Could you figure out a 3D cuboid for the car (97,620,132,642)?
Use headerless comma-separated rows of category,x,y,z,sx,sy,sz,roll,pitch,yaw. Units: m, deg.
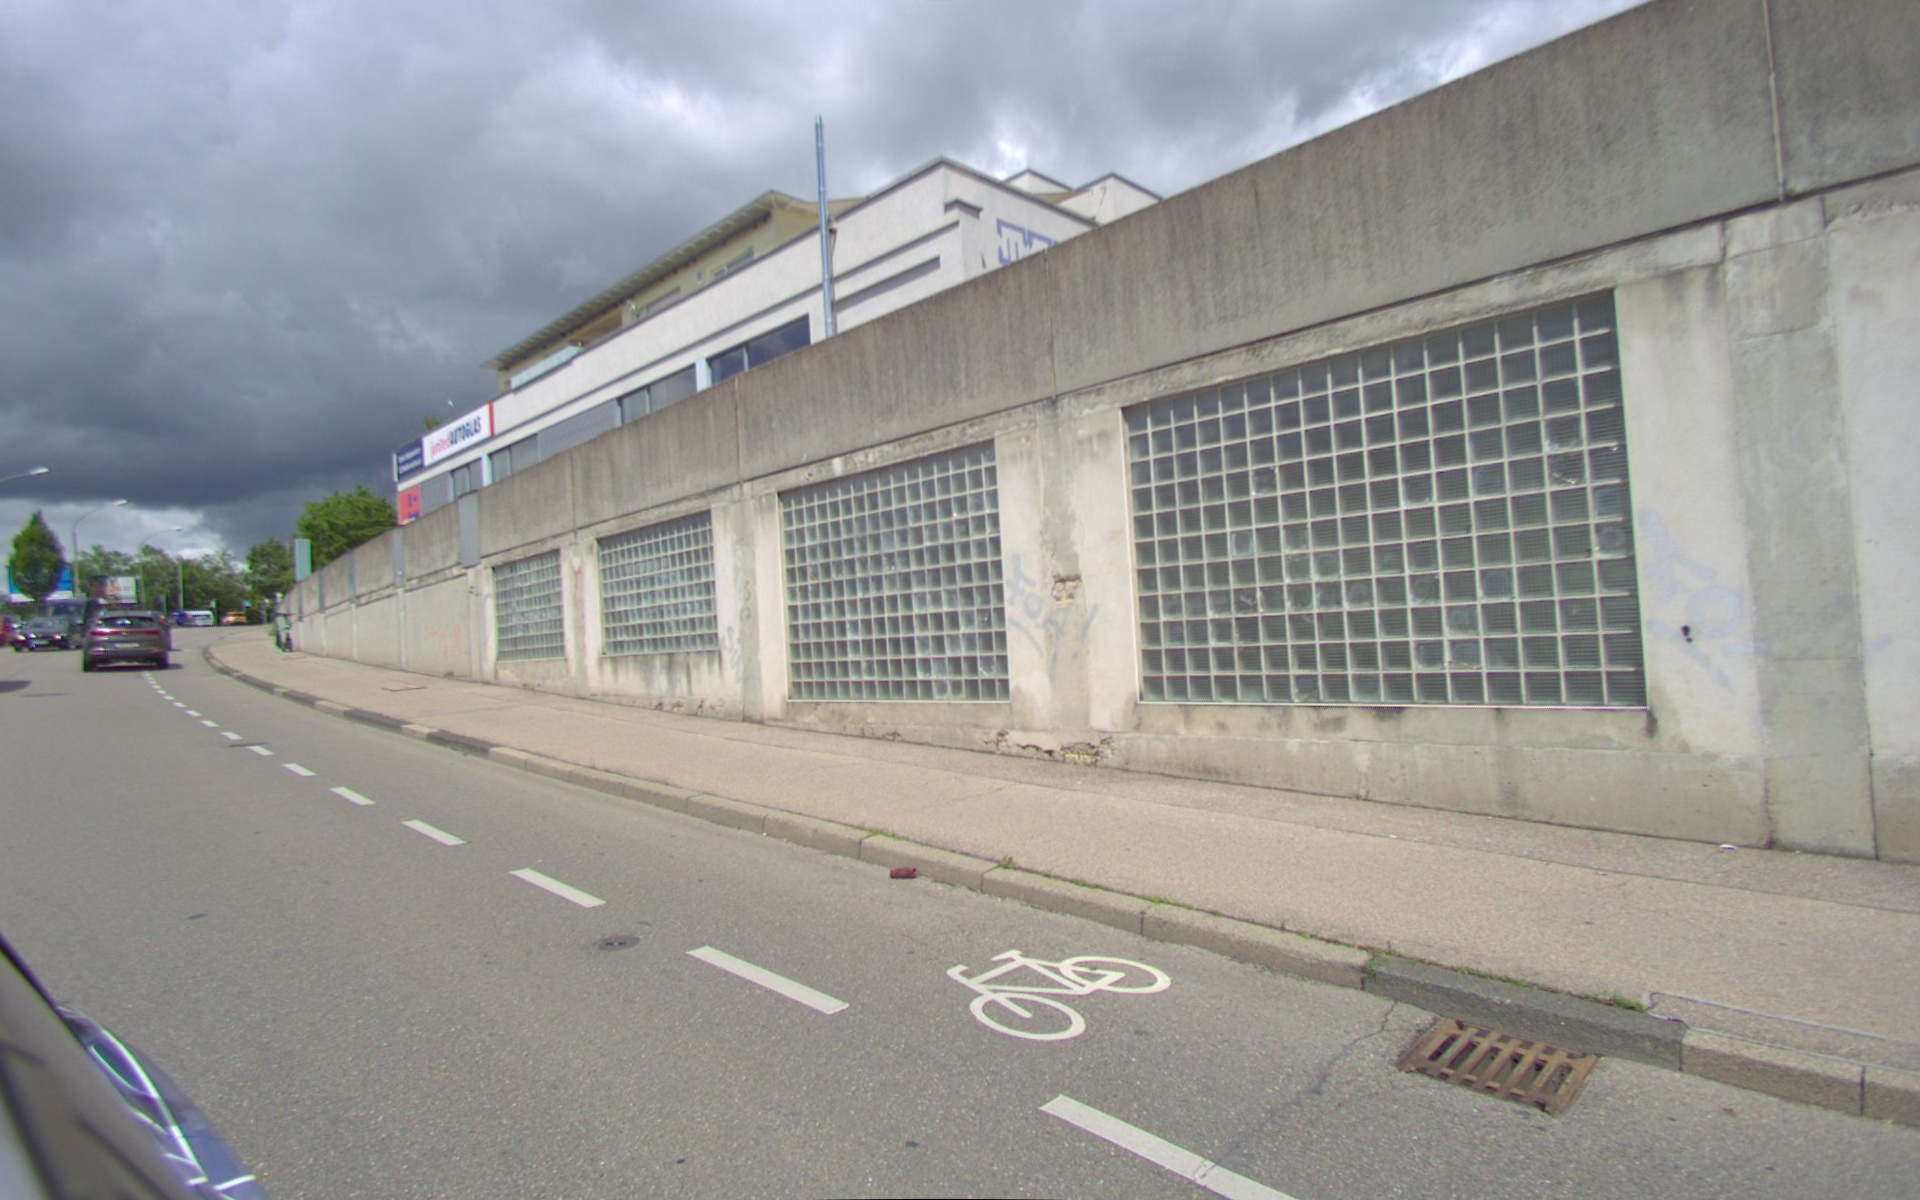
car,-61.384,2.220,73.512,1.379,1.443,3.455,-2,0,-31

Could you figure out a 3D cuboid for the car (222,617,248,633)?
car,-75.858,2.593,105.887,1.578,1.502,3.694,-2,0,-26

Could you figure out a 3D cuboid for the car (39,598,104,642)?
car,-55.681,1.222,63.499,2.026,2.613,5.752,-2,0,-31

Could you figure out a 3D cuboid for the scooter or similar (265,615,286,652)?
scooter or similar,-24.966,1.203,36.914,0.550,1.285,1.308,-2,0,-37

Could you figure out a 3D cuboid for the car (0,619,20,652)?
car,-46.340,1.711,48.313,1.571,1.492,3.509,-2,0,-34

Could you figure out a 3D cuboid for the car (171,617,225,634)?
car,-94.786,3.163,125.924,1.952,1.984,5.085,-1,0,27

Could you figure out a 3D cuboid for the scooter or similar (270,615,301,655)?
scooter or similar,-22.610,1.176,33.934,1.383,1.285,0.513,-1,2,43

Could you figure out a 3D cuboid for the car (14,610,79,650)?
car,-37.906,1.203,42.085,1.560,1.517,3.967,-2,0,-36

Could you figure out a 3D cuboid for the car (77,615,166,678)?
car,-23.711,1.260,28.564,1.778,1.634,4.097,0,-1,-42
